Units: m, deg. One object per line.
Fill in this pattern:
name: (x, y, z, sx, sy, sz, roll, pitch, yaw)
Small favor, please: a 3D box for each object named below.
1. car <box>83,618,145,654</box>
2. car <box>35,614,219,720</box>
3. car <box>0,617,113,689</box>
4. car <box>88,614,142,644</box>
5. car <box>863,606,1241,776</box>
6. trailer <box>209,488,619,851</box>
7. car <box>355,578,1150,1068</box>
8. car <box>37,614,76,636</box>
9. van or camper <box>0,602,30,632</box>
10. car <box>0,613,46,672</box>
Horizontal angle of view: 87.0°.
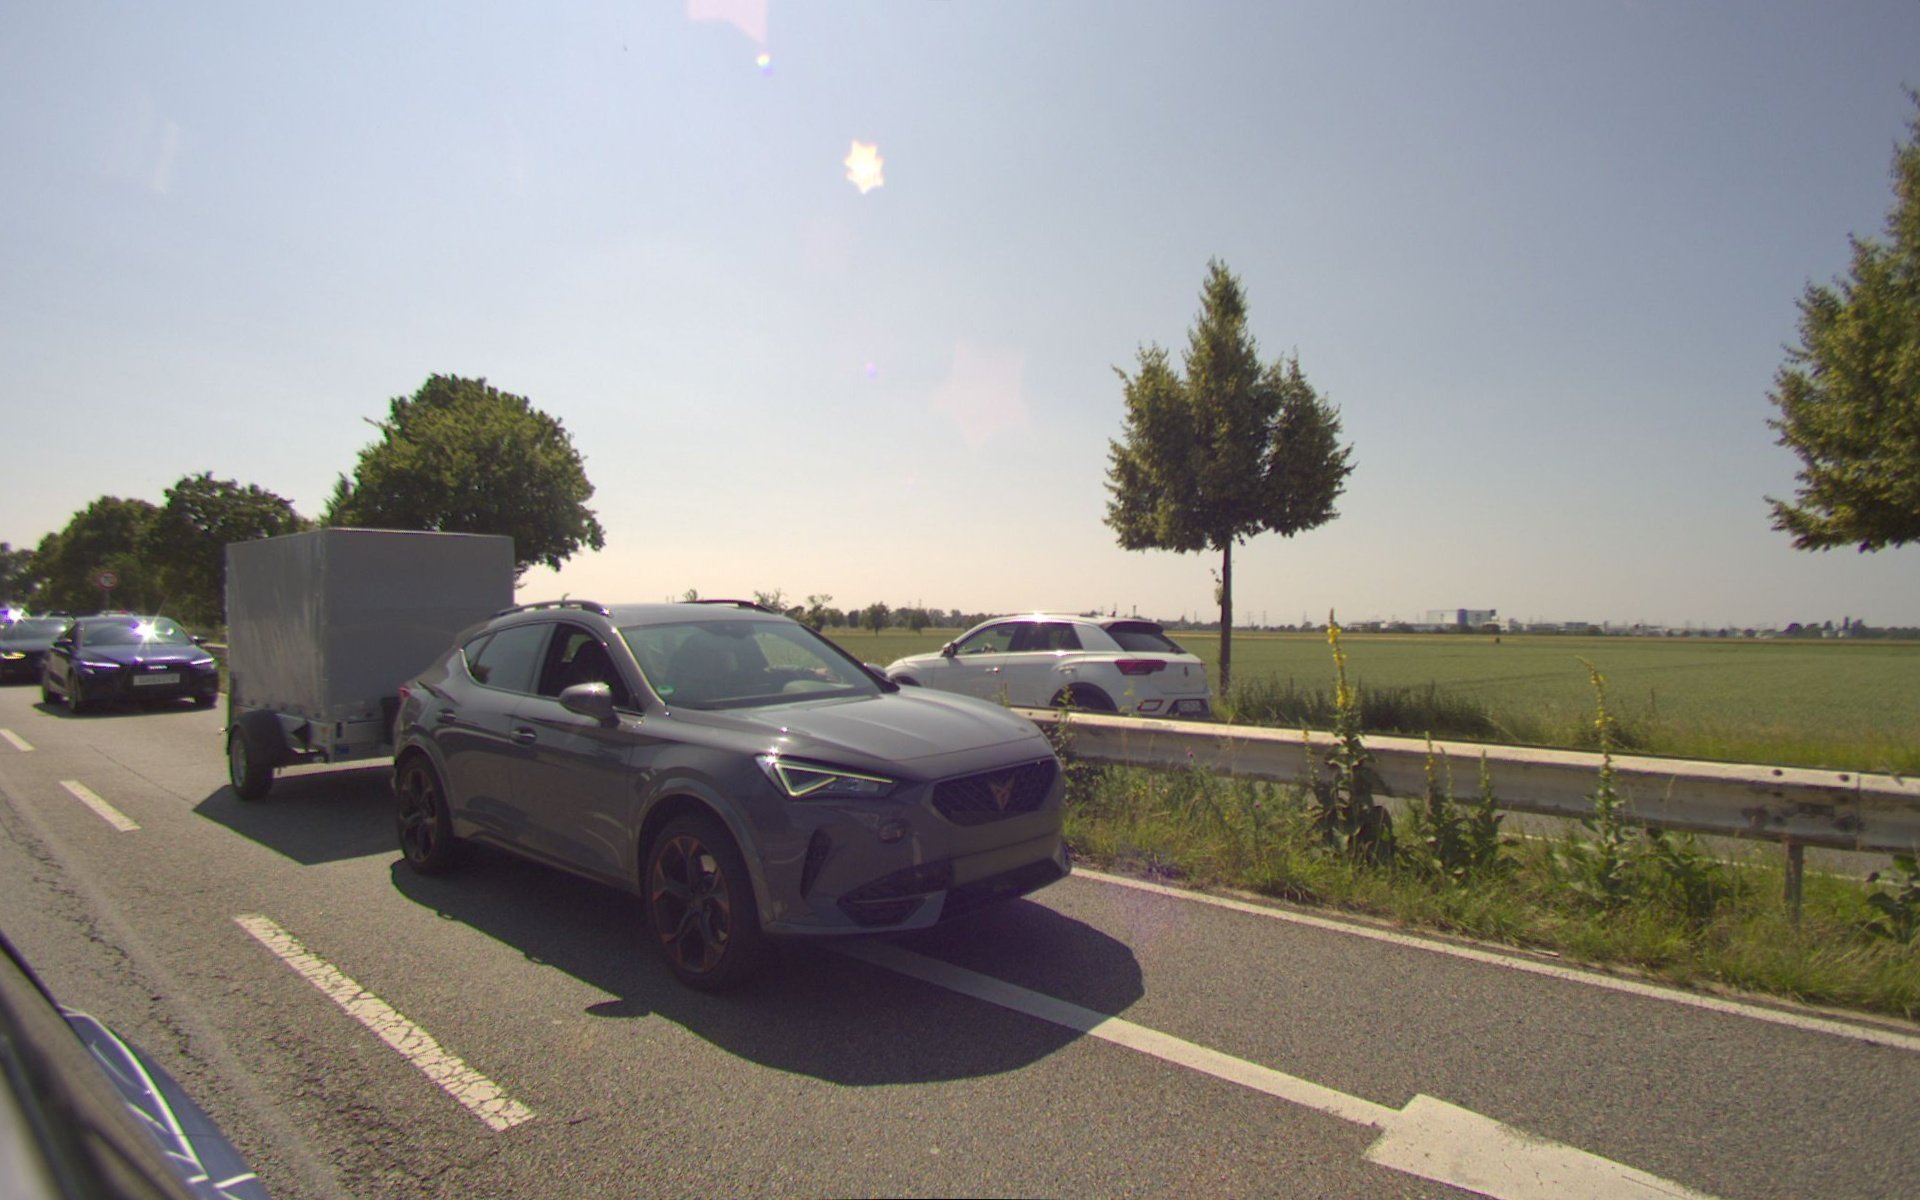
car: (-40.027, 1.677, 47.852, 4.136, 1.651, 1.726, -1, -2, 43)
car: (-13.409, 0.971, 16.215, 4.029, 1.476, 1.699, -1, -1, 42)
car: (-20.103, 1.095, 22.215, 4.454, 1.391, 1.722, -1, 0, 42)
car: (-57.152, 1.956, 68.425, 5.013, 1.945, 1.973, -1, -2, 41)
car: (0.939, 0.925, 11.702, 4.133, 1.630, 1.727, -1, -2, 40)
trailer: (-4.502, 0.447, 8.045, 4.171, 2.190, 1.485, -1, -1, 41)
car: (-1.375, 0.723, 5.227, 4.360, 1.514, 1.728, -1, -1, 41)
car: (-77.922, 2.184, 87.256, 4.694, 1.870, 1.838, -1, -2, 41)
van or camper: (-100.531, 1.858, 107.160, 5.692, 3.123, 2.240, -1, -2, 41)
car: (-26.459, 1.124, 27.661, 4.100, 1.527, 1.835, -1, -1, 43)
